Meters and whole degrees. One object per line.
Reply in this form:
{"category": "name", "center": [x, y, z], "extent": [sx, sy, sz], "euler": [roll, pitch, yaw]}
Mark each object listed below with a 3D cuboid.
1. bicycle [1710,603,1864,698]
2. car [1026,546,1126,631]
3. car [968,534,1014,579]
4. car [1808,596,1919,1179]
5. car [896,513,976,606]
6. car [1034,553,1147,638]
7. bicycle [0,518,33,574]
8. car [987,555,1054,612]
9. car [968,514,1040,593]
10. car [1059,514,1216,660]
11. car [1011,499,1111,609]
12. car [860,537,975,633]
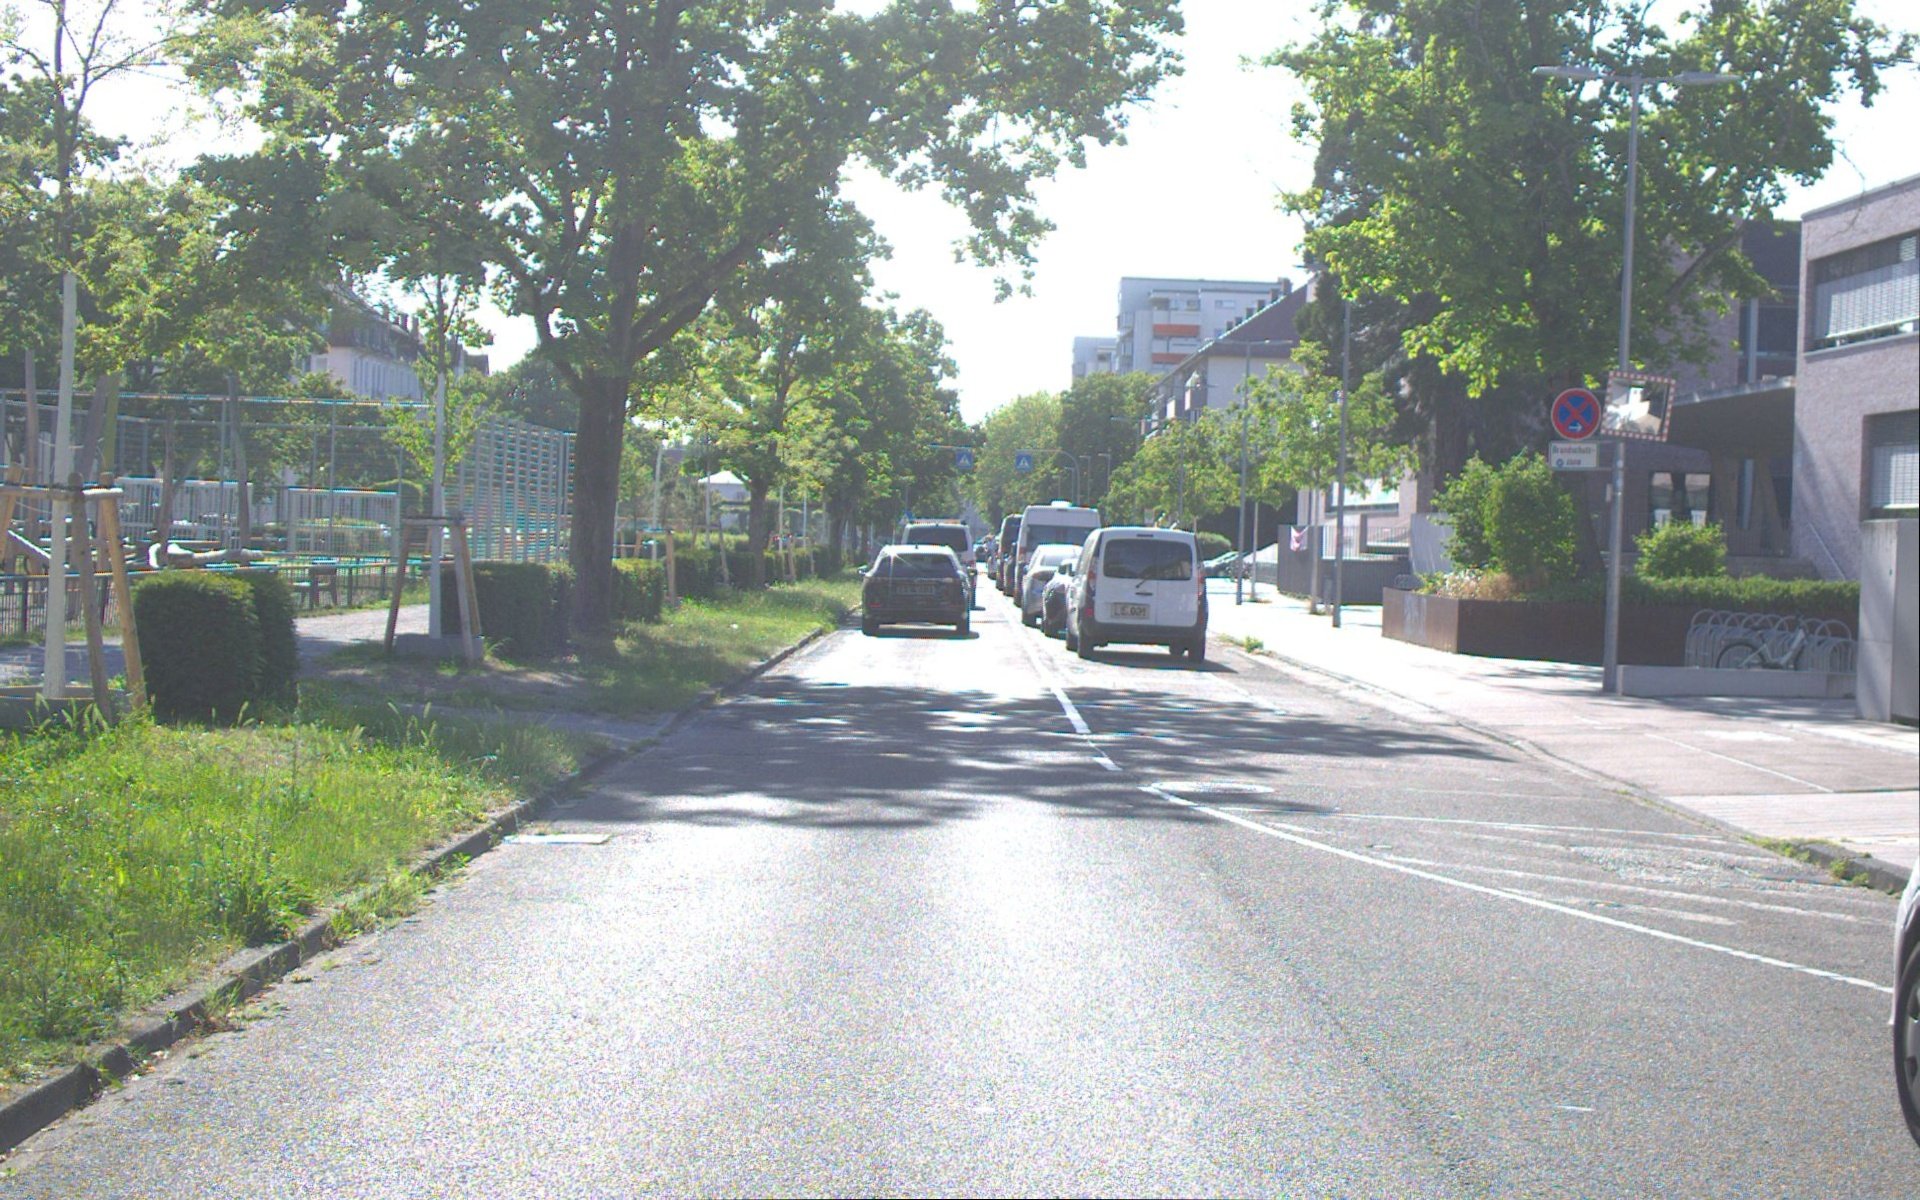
{"category": "bicycle", "center": [9.930, 0.605, 41.291], "extent": [1.668, 1.026, 0.500], "euler": [4, 1, -2]}
{"category": "car", "center": [2.172, -0.240, 65.336], "extent": [1.701, 1.473, 4.173], "euler": [3, 1, 0]}
{"category": "car", "center": [1.355, -1.892, 149.474], "extent": [1.794, 1.848, 4.413], "euler": [2, 1, 2]}
{"category": "car", "center": [3.385, 0.808, 7.409], "extent": [1.659, 1.460, 4.412], "euler": [4, 1, -4]}
{"category": "car", "center": [-0.548, -0.978, 82.134], "extent": [1.794, 2.115, 4.000], "euler": [2, 1, 0]}
{"category": "car", "center": [2.205, -0.099, 58.942], "extent": [1.701, 1.321, 4.129], "euler": [3, 1, 0]}
{"category": "bicycle", "center": [-19.798, -1.118, 69.810], "extent": [1.794, 1.104, 0.500], "euler": [2, 1, -1]}
{"category": "car", "center": [1.797, -0.514, 103.182], "extent": [1.846, 1.634, 4.504], "euler": [2, 1, -1]}
{"category": "car", "center": [1.430, -1.562, 115.444], "extent": [2.115, 2.507, 6.532], "euler": [2, 1, -1]}
{"category": "car", "center": [2.469, -0.211, 48.838], "extent": [1.808, 1.902, 4.462], "euler": [3, 1, -1]}
{"category": "car", "center": [2.477, -1.143, 85.531], "extent": [2.241, 2.565, 5.432], "euler": [3, 1, 0]}
{"category": "car", "center": [-0.680, -0.273, 57.896], "extent": [1.794, 1.505, 4.000], "euler": [2, 1, 0]}
